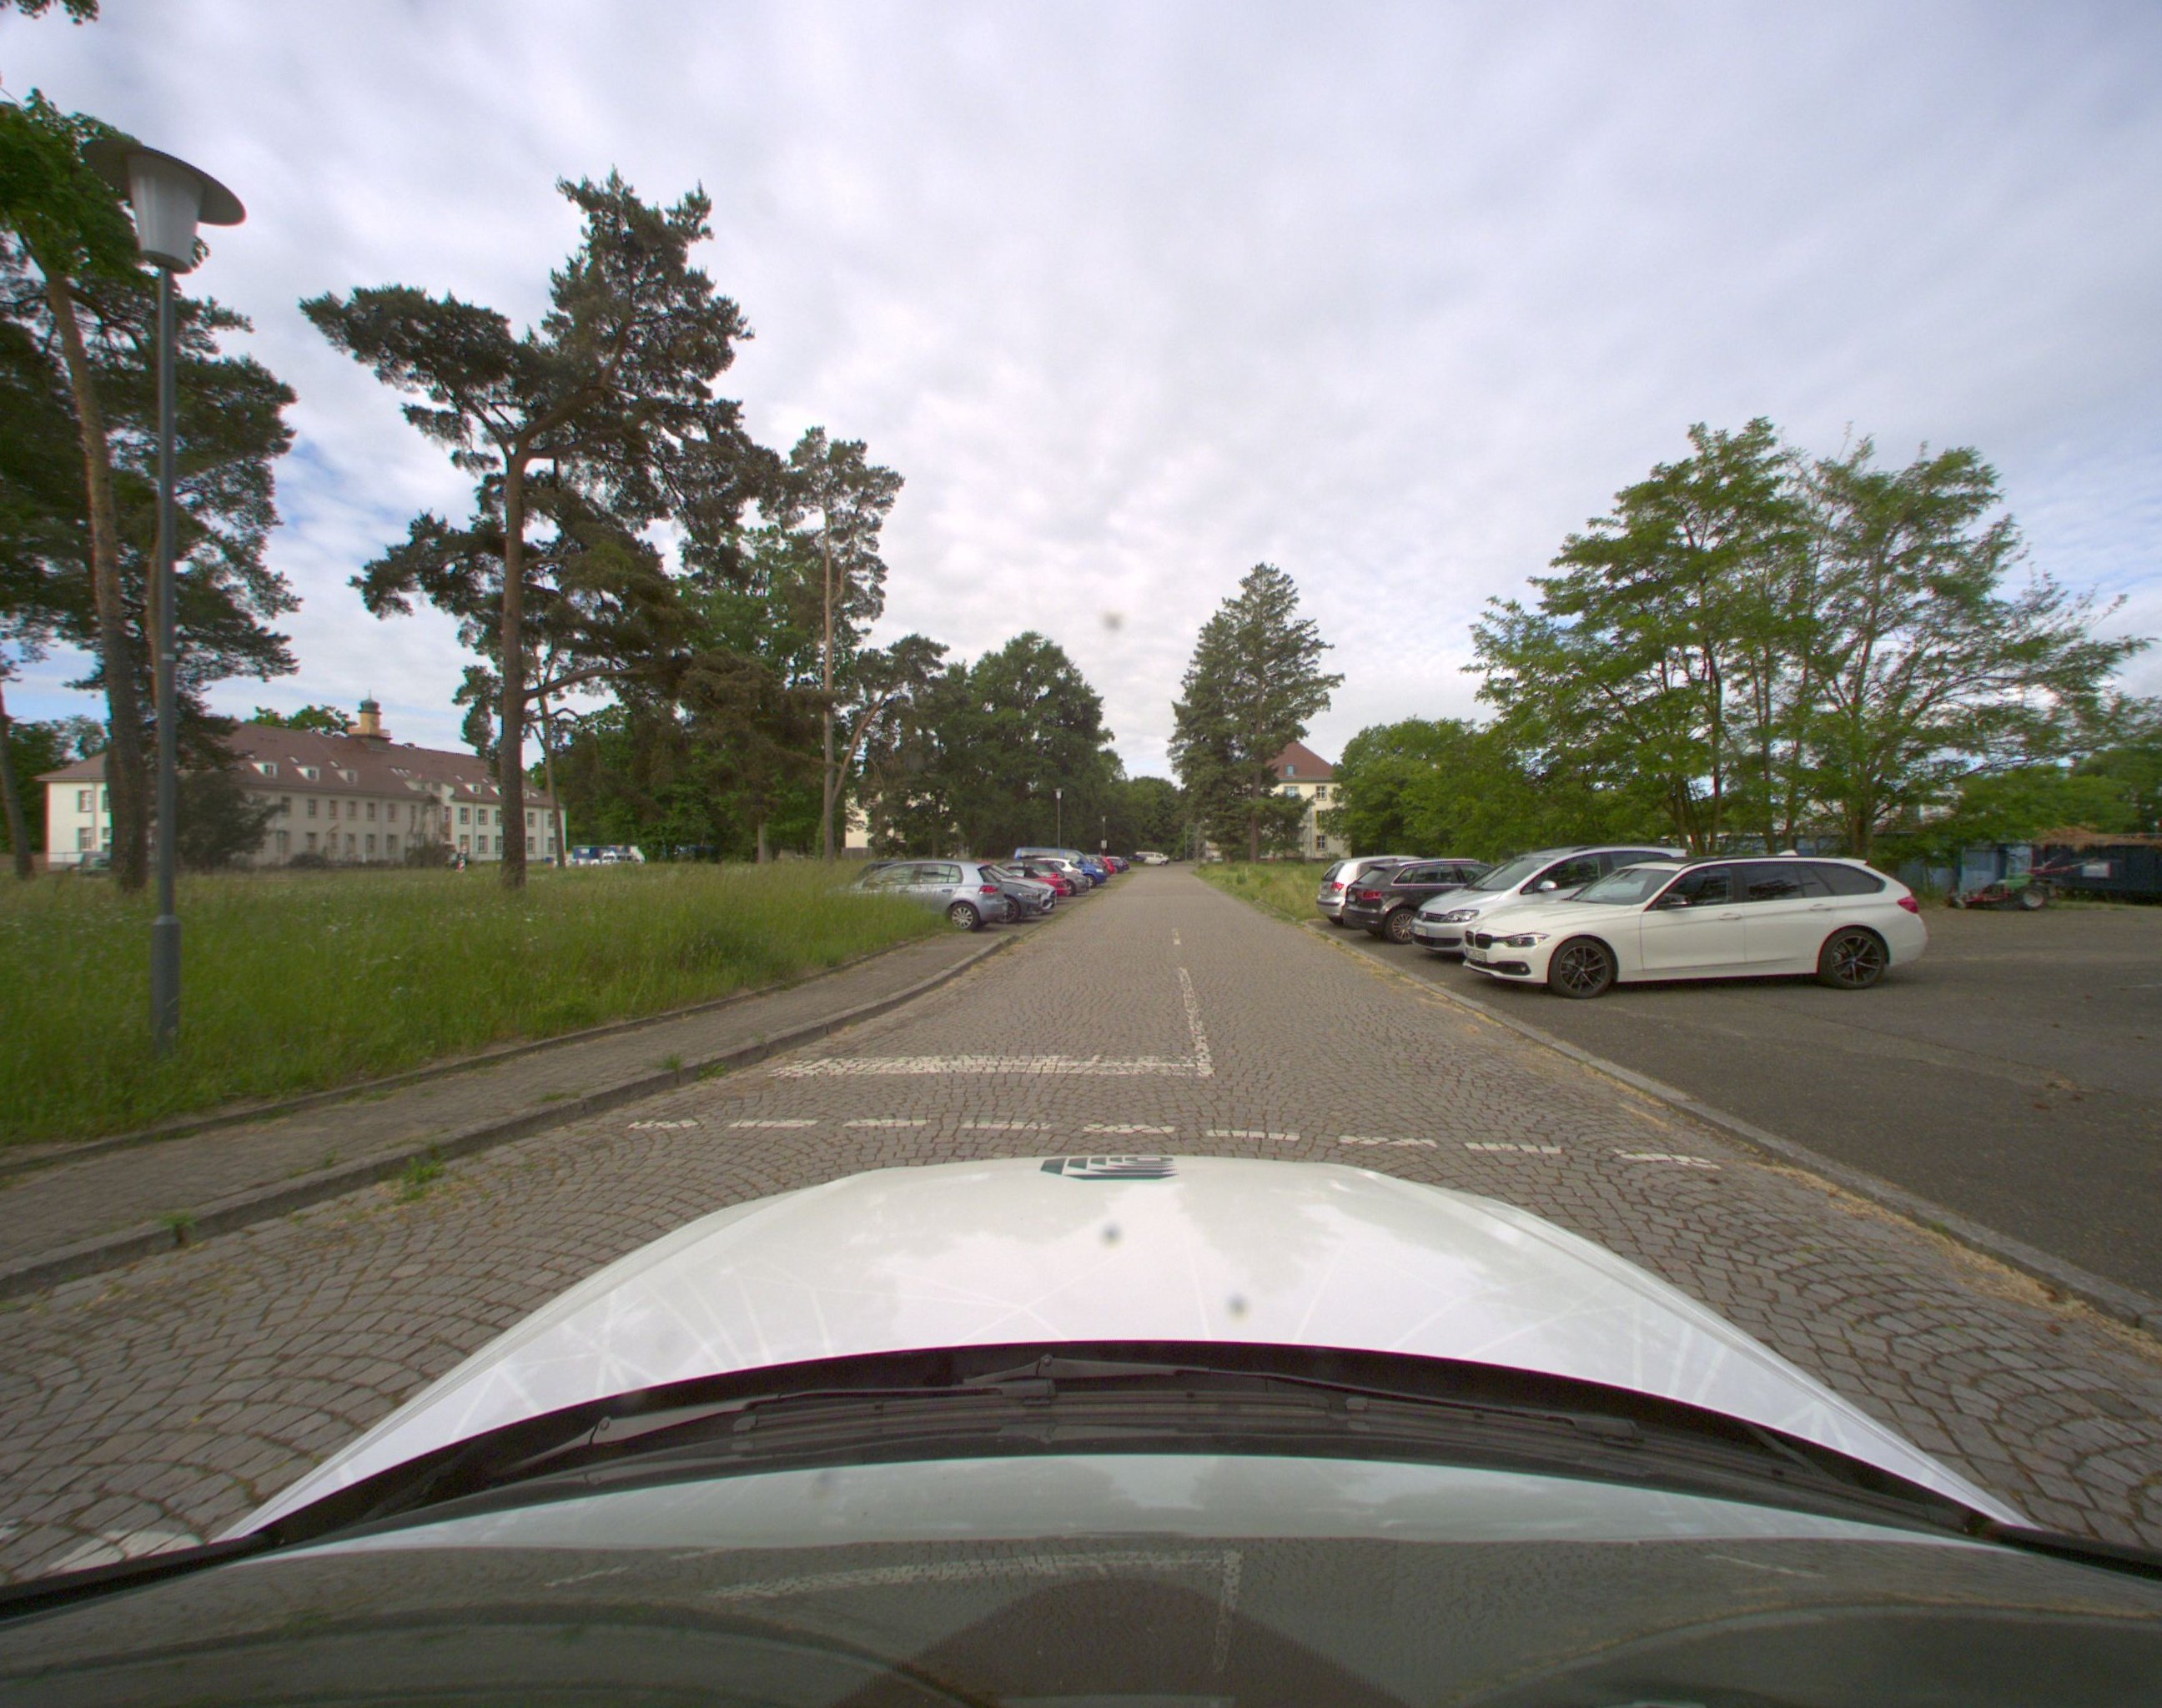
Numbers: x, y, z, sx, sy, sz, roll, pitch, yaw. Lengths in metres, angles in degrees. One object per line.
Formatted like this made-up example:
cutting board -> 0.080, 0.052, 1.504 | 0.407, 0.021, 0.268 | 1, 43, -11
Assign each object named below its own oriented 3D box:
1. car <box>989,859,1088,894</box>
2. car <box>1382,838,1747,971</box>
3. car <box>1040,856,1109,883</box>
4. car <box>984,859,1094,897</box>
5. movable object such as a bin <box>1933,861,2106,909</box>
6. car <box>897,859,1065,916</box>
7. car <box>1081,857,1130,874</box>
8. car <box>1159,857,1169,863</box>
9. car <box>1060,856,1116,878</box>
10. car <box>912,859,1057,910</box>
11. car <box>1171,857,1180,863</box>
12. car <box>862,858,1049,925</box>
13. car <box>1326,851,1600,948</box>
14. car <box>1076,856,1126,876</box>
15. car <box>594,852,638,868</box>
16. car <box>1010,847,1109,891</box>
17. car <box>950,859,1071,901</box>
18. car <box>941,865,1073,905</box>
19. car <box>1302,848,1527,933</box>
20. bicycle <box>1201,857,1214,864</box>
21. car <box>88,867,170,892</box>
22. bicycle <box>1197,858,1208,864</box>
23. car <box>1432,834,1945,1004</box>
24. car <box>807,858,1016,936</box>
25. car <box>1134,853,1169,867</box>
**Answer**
car -> -1.829, 0.975, 35.857 | 4.047, 1.497, 1.849 | 0, 0, 6
car -> 6.943, 0.693, 12.060 | 4.224, 1.596, 1.886 | -3, 0, 1
car -> -0.367, 0.930, 49.980 | 4.149, 1.622, 1.988 | 0, 0, 2
car -> -1.658, 0.947, 32.915 | 4.144, 1.491, 1.868 | 0, 0, 6
movable object such as a bin -> 20.048, 0.658, 17.440 | 2.671, 0.988, 0.854 | 0, 0, 2
car -> -2.710, 0.897, 22.773 | 4.356, 1.507, 1.937 | 0, 0, 3
car -> 2.295, 1.077, 75.224 | 4.280, 1.461, 1.978 | 1, 0, 6
car -> 19.269, 1.377, 189.189 | 2.109, 1.522, 4.004 | 0, 0, 4
car -> 0.555, 0.945, 60.326 | 4.037, 1.525, 1.907 | 0, 0, 3
car -> -2.904, 0.917, 25.097 | 4.147, 1.476, 1.867 | 0, 0, 4
car -> 21.953, 1.354, 189.263 | 1.942, 1.522, 4.004 | 0, 0, 4
car -> -2.984, 0.879, 20.038 | 4.234, 1.548, 1.936 | 0, 0, 1
car -> 6.773, 0.778, 14.803 | 4.057, 1.453, 1.887 | -3, 0, 2
car -> 1.741, 1.014, 70.546 | 4.209, 1.577, 1.889 | 1, 0, 3
car -> -58.511, 0.748, 102.515 | 1.982, 2.014, 5.242 | -1, -1, 8
car -> -1.028, 0.747, 41.111 | 4.760, 2.122, 2.118 | 0, 0, 4
car -> -2.554, 0.936, 30.121 | 4.145, 1.482, 1.849 | 0, 0, 6
car -> -2.441, 1.035, 27.442 | 4.144, 1.266, 1.834 | 0, 0, 6
car -> 7.035, 0.748, 17.504 | 4.057, 1.515, 1.805 | -3, 0, 2
bicycle -> 21.720, 1.078, 139.966 | 2.228, 1.254, 0.779 | 0, -1, 7
car -> -87.594, 2.313, 74.990 | 5.010, 2.200, 1.998 | 0, 0, -3
bicycle -> 24.111, 1.352, 161.424 | 2.228, 1.254, 0.635 | 0, -1, 7
car -> 6.763, 0.690, 9.510 | 4.474, 1.565, 1.907 | -3, 0, 2
car -> -3.501, 0.875, 17.337 | 3.969, 1.543, 1.907 | 0, 0, 4
car -> 10.716, 0.910, 123.584 | 5.213, 2.168, 2.001 | 0, 0, 2
